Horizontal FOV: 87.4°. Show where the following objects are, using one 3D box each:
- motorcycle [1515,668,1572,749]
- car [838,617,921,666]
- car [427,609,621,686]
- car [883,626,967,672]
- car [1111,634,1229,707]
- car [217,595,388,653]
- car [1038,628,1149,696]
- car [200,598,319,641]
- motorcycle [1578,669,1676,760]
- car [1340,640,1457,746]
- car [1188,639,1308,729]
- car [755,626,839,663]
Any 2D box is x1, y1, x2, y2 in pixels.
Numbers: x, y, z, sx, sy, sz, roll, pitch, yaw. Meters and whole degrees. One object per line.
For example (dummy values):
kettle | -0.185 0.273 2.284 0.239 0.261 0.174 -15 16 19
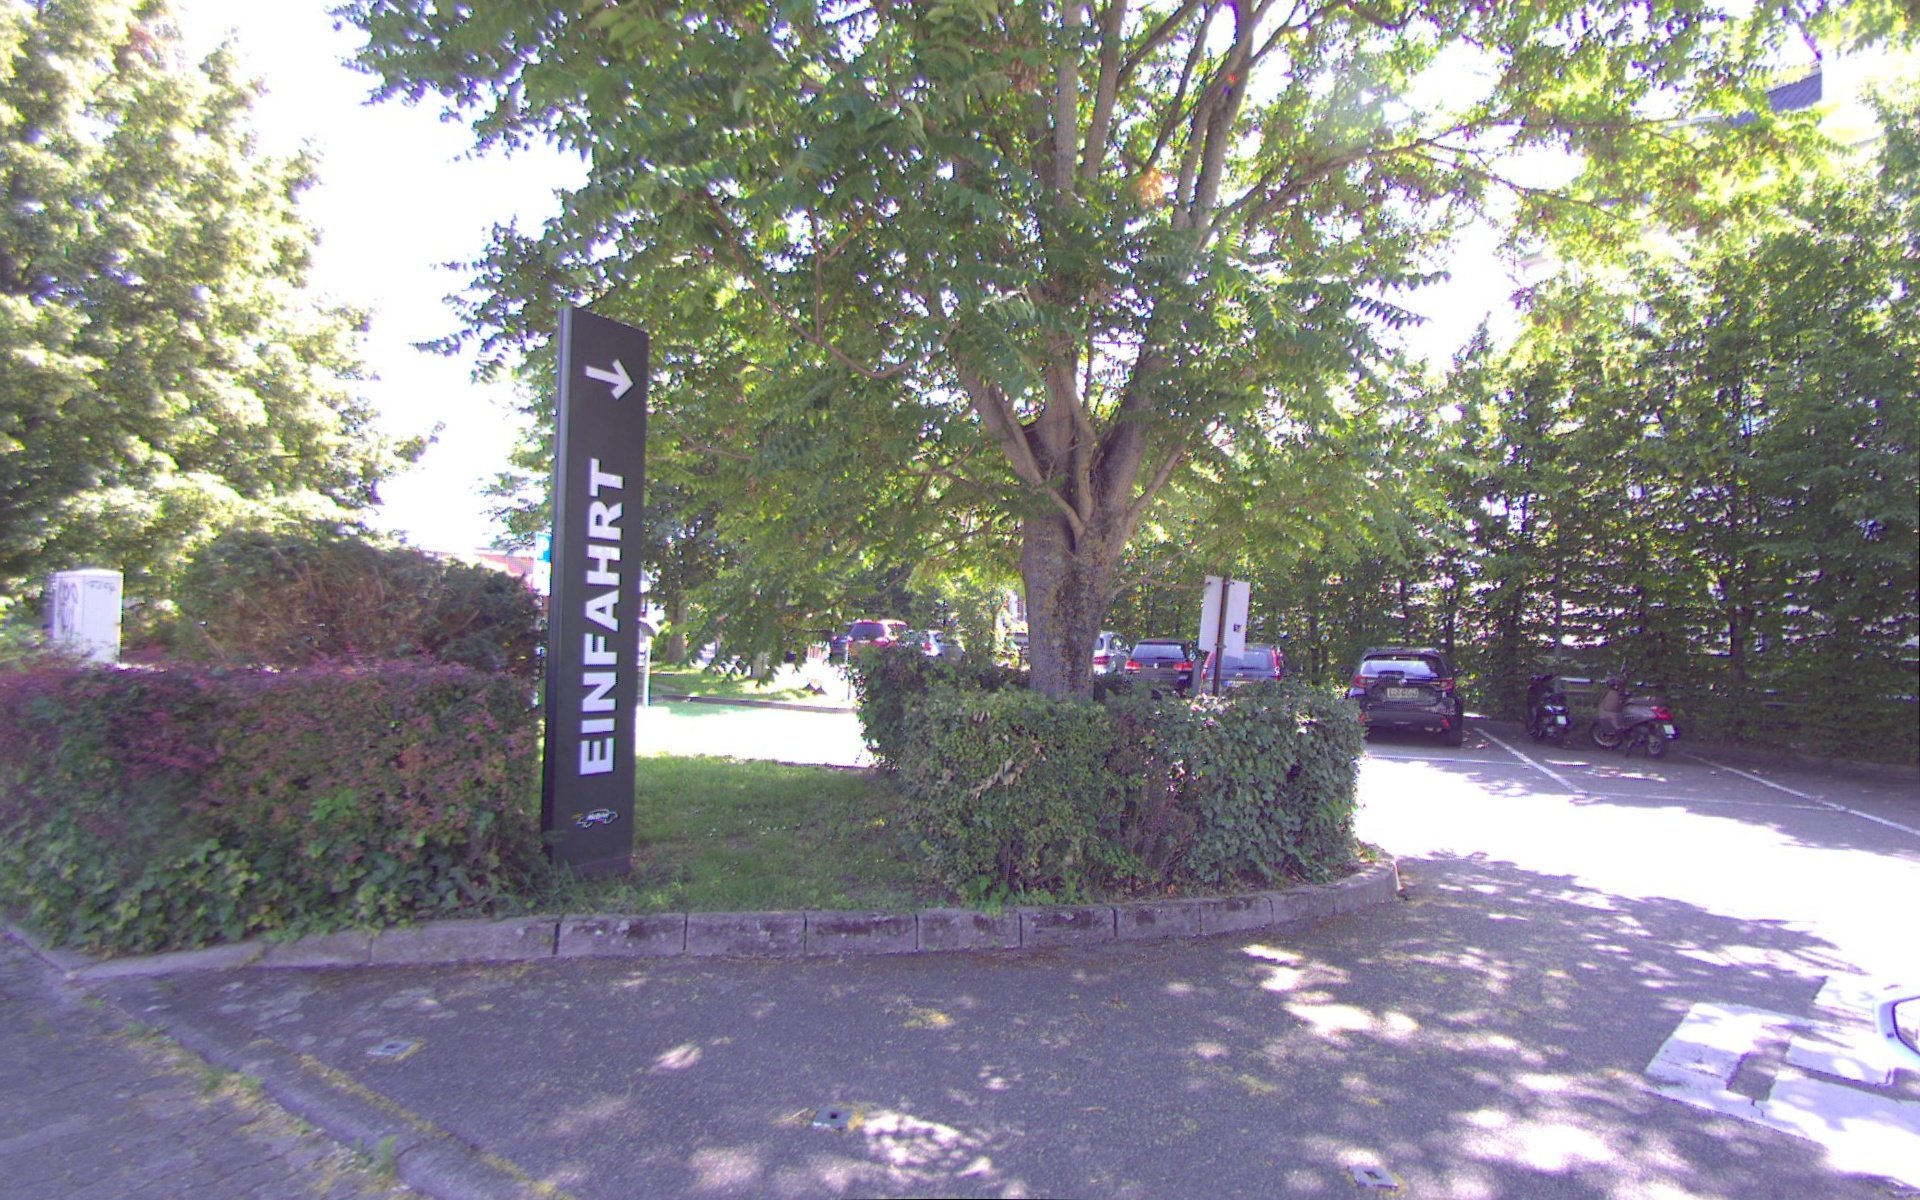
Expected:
motorcycle | 9.236 1.687 15.946 0.465 1.156 1.606 1 -2 19
car | -3.046 1.573 38.736 1.739 1.757 4.001 -1 -2 19
car | -9.768 1.038 22.405 4.293 1.471 1.858 1 -4 34
car | -1.174 1.700 35.769 1.739 1.495 4.002 0 -1 17
car | 5.004 1.579 23.545 1.741 1.489 3.996 0 -1 26
car | -21.029 0.813 32.338 1.825 1.708 4.314 2 -2 19
car | 3.570 1.554 26.178 1.741 1.593 3.997 1 -1 25
car | -28.513 0.789 40.904 4.060 1.572 1.921 2 -2 20
motorcycle | 9.650 1.630 14.590 0.558 1.184 1.607 1 -2 9
car | 7.384 1.469 17.120 1.629 1.489 3.903 0 -1 22
car | 5.668 1.524 19.454 1.672 1.472 3.997 0 -1 24
car | -6.691 1.836 41.598 1.739 1.407 4.001 0 -2 19
